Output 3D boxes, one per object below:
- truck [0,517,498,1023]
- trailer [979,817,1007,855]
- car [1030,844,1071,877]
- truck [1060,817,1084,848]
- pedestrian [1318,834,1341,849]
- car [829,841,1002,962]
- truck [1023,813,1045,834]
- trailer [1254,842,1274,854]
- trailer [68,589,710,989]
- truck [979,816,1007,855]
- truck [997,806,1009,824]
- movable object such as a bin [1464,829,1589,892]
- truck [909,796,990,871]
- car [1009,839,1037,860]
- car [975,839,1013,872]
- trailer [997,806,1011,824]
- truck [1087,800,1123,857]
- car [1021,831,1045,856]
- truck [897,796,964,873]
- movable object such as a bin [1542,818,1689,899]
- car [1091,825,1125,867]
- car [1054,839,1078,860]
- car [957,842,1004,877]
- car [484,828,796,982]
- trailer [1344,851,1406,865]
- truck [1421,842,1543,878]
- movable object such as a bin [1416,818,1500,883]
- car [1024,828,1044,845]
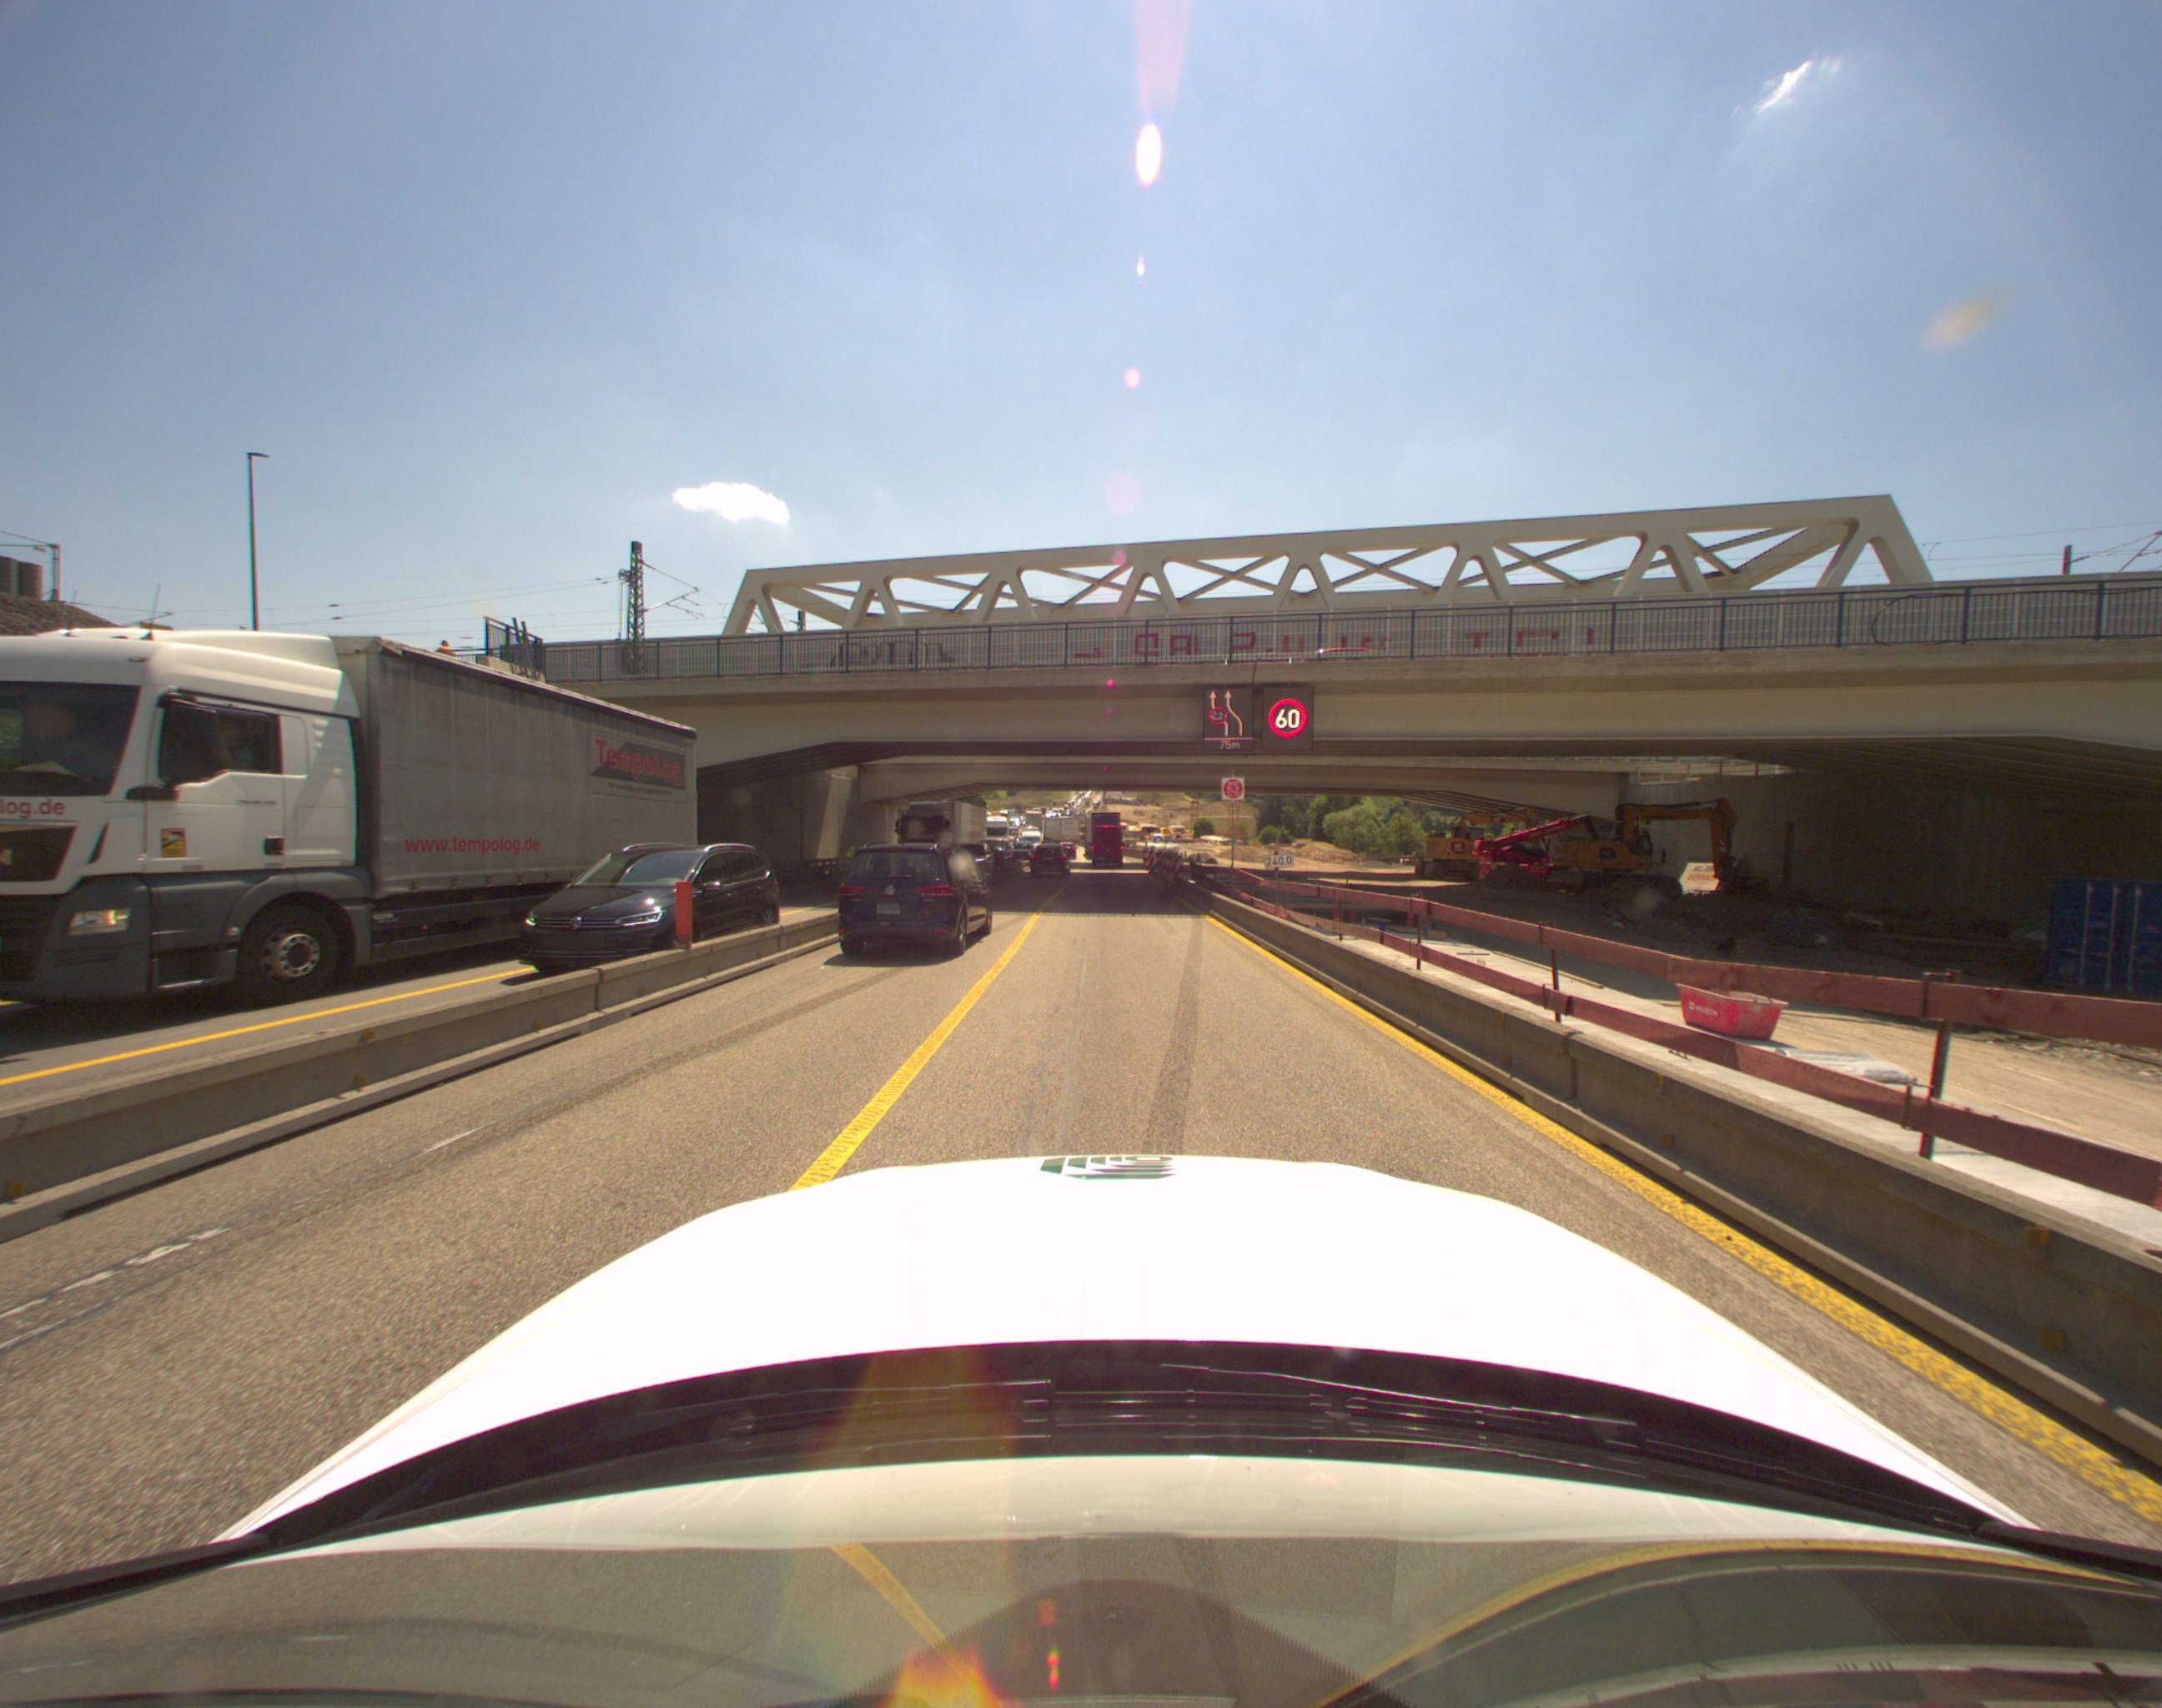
[{"bbox_3d":[-9.114,-0.679,8.687,2.789,4.150,4.073,0,-1,0],"label":"truck"},{"bbox_3d":[-10.495,-2.155,96.239,2.874,4.039,14.324,1,1,-7],"label":"trailer"},{"bbox_3d":[-1.489,0.298,41.488,1.827,1.635,4.391,0,0,1],"label":"car"},{"bbox_3d":[-1.235,-2.922,110.039,3.172,3.988,6.742,0,3,0],"label":"truck"},{"bbox_3d":[34.118,-1.691,112.085,1.987,2.014,4.000,0,-1,0],"label":"pedestrian"},{"bbox_3d":[-2.469,0.642,13.289,1.727,1.635,4.393,0,0,3],"label":"car"},{"bbox_3d":[-8.594,-5.499,147.931,3.217,3.360,8.916,0,-1,-8],"label":"truck"},{"bbox_3d":[24.128,-0.838,107.318,1.619,1.486,3.824,1,1,-2],"label":"trailer"},{"bbox_3d":[-9.085,-0.654,12.622,2.803,4.174,8.243,0,-1,0],"label":"trailer"},{"bbox_3d":[-9.594,-1.981,88.968,2.871,4.050,4.874,1,1,-7],"label":"truck"},{"bbox_3d":[-19.398,-9.674,202.117,2.619,4.269,4.729,1,2,-3],"label":"truck"},{"bbox_3d":[23.503,0.342,43.165,5.214,3.056,2.500,2,-1,5],"label":"movable object such as a bin"},{"bbox_3d":[-8.319,-1.117,53.567,2.759,4.313,13.494,0,-1,2],"label":"truck"},{"bbox_3d":[-4.558,-0.380,64.072,1.742,1.609,4.144,0,1,2],"label":"car"},{"bbox_3d":[-5.219,0.058,49.464,1.794,1.932,4.967,0,1,0],"label":"car"},{"bbox_3d":[-19.634,-9.966,209.203,2.640,4.291,13.302,1,2,-2],"label":"trailer"},{"bbox_3d":[2.140,-2.363,74.172,2.937,4.944,6.740,0,3,-1],"label":"truck"},{"bbox_3d":[-4.682,-1.000,79.970,1.974,2.330,6.058,0,1,0],"label":"car"},{"bbox_3d":[-8.459,-1.024,46.367,2.649,4.171,5.189,0,-1,2],"label":"truck"},{"bbox_3d":[23.413,0.181,35.899,4.531,3.287,2.995,2,-1,5],"label":"movable object such as a bin"},{"bbox_3d":[1.779,-0.483,52.889,2.141,2.611,5.441,0,-1,2],"label":"car"},{"bbox_3d":[-1.300,-0.404,71.634,1.827,1.777,4.391,0,0,2],"label":"car"},{"bbox_3d":[-5.060,0.243,41.635,1.716,1.609,4.525,1,1,1],"label":"car"},{"bbox_3d":[-5.839,0.554,11.609,1.849,1.756,4.610,0,1,1],"label":"car"},{"bbox_3d":[25.597,0.359,70.996,4.696,1.219,2.056,0,-1,1],"label":"trailer"},{"bbox_3d":[25.622,0.371,52.320,6.491,2.073,2.669,1,1,4],"label":"truck"},{"bbox_3d":[21.784,-0.192,47.287,3.855,3.542,2.913,2,-1,12],"label":"movable object such as a bin"},{"bbox_3d":[-6.759,-2.532,116.878,2.266,2.354,5.142,0,3,-11],"label":"car"}]
